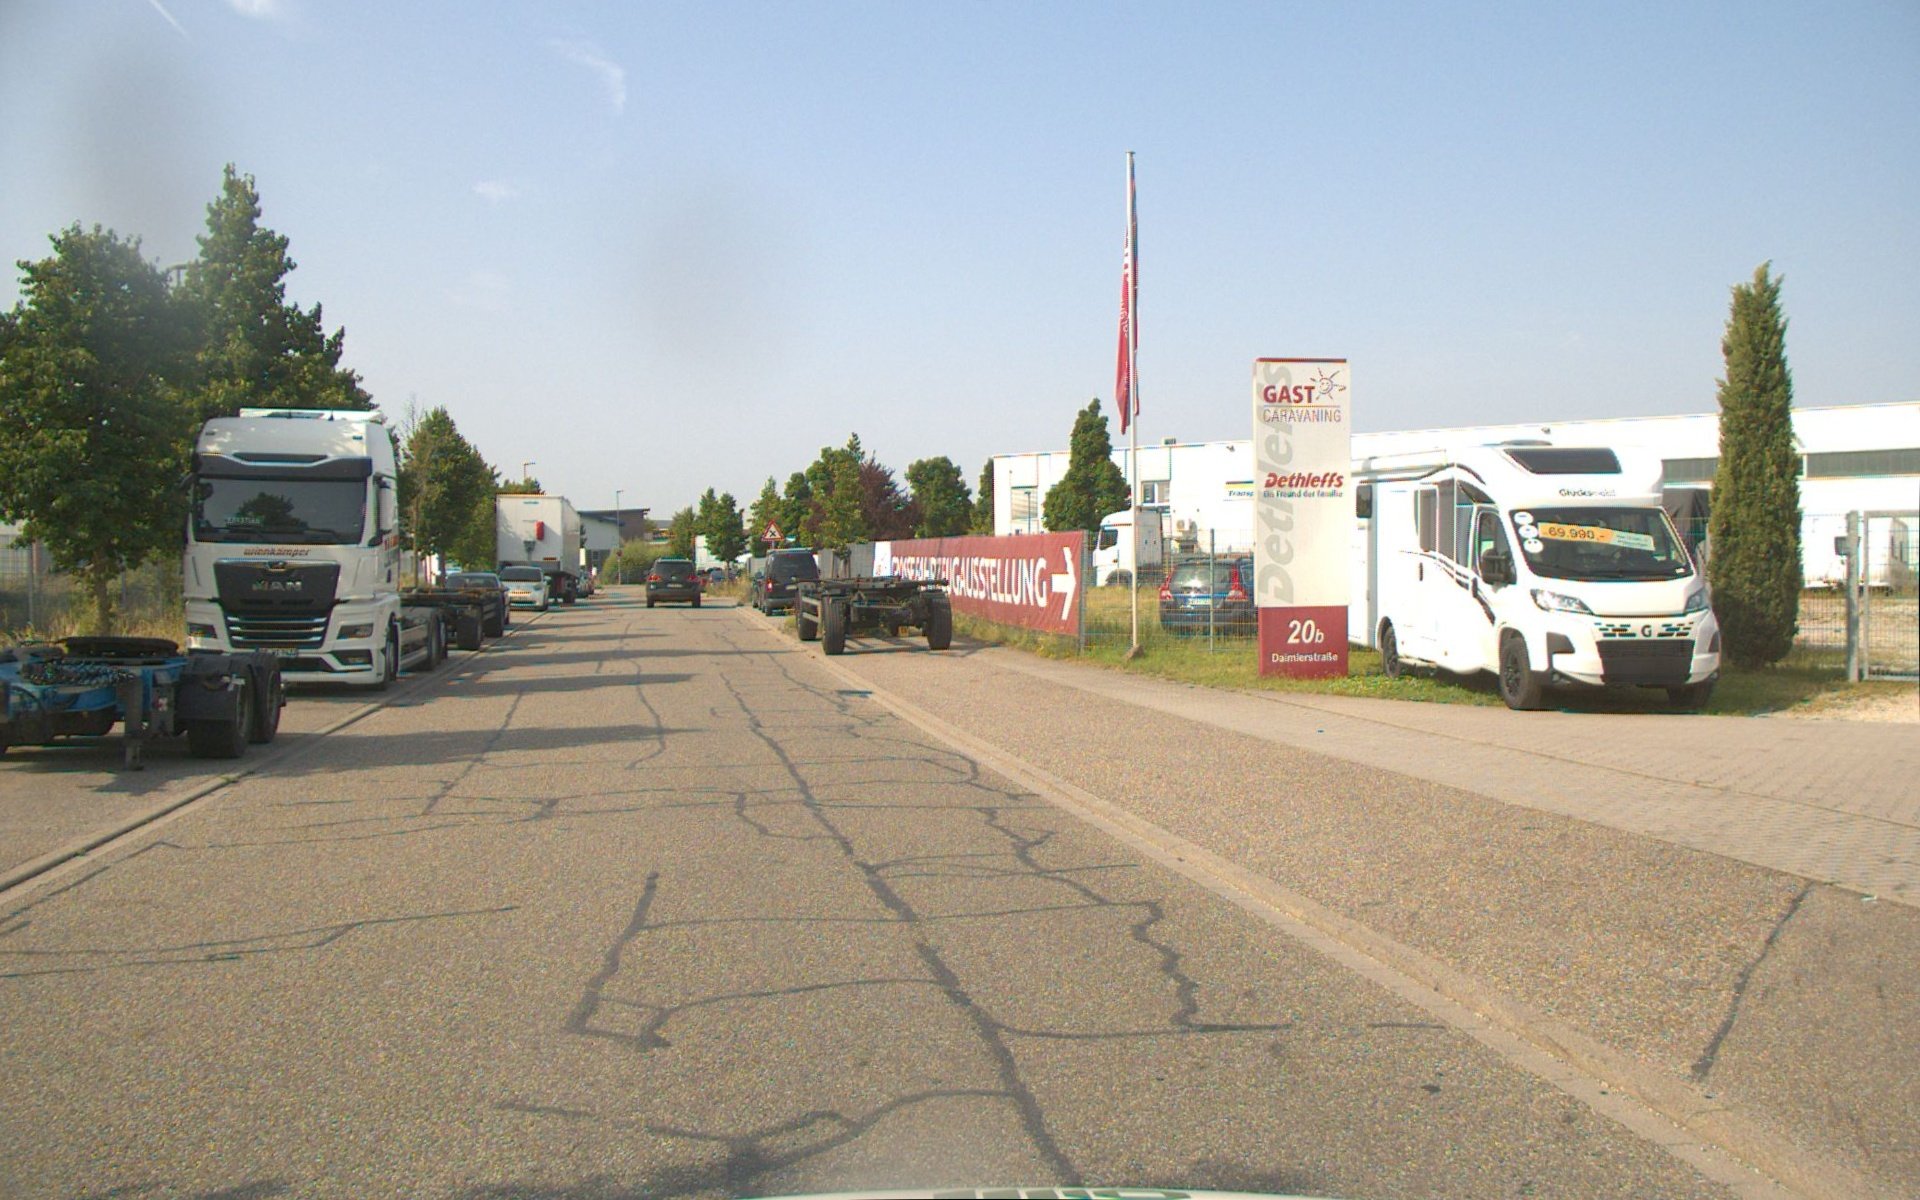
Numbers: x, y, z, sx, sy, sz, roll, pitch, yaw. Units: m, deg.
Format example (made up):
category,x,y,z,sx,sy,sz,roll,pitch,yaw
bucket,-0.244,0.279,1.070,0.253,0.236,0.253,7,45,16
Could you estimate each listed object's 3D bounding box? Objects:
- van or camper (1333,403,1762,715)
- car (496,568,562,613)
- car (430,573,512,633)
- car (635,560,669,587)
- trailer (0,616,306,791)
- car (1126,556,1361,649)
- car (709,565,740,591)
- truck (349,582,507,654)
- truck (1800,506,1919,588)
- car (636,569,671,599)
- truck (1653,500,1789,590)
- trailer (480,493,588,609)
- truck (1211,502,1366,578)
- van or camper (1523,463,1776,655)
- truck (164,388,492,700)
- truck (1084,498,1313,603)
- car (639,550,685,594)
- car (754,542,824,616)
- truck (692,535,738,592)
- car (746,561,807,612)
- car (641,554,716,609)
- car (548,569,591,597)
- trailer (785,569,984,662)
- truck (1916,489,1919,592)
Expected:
category,x,y,z,sx,sy,sz,roll,pitch,yaw
van or camper,6.480,-0.493,19.477,2.284,2.994,6.968,-1,1,-3
car,-14.767,-0.362,56.806,1.777,1.452,3.992,-1,1,-9
car,-12.848,0.041,43.632,1.853,1.461,3.986,-1,1,-14
car,-21.432,-1.844,115.197,1.955,1.802,3.995,-1,1,-6
trailer,-7.681,0.800,14.696,2.528,1.119,5.188,-1,1,-11
car,5.112,0.000,29.635,3.964,1.502,2.141,-2,2,-41
car,-14.351,-1.362,100.787,1.785,1.474,3.794,-2,2,-9
truck,-11.420,0.324,36.009,2.479,1.287,6.510,-1,2,-11
truck,27.620,-1.630,50.576,2.408,2.304,7.975,0,2,35
car,-17.869,-0.931,96.313,1.958,1.668,3.990,-1,1,-11
truck,23.291,-1.678,50.384,2.408,2.514,7.975,0,2,35
trailer,-17.953,-2.035,70.653,3.342,4.415,13.887,-1,1,-10
truck,11.716,-2.112,58.454,2.408,2.514,7.975,0,2,35
van or camper,10.966,-0.683,25.939,2.440,2.603,6.606,1,2,34
truck,-9.974,-0.840,27.823,2.578,3.997,12.891,0,1,-9
truck,9.658,-1.984,67.661,9.117,4.041,2.452,0,2,33
car,-14.141,-1.376,78.654,1.956,1.932,4.460,0,3,-8
car,-5.215,-0.677,50.053,1.785,2.012,3.992,-4,2,-9
truck,-16.486,-2.460,111.233,2.834,3.648,8.046,-2,1,-9
car,-6.215,-0.486,55.612,1.785,1.474,3.794,-4,2,-9
car,-10.048,-0.683,59.206,1.953,1.836,4.000,1,1,0
car,-22.598,-0.980,95.802,1.956,1.549,3.994,-1,1,-7
trailer,-1.759,0.167,32.709,2.576,1.412,9.430,-3,2,-11
truck,29.986,-1.782,48.837,2.408,2.875,7.975,0,2,35
